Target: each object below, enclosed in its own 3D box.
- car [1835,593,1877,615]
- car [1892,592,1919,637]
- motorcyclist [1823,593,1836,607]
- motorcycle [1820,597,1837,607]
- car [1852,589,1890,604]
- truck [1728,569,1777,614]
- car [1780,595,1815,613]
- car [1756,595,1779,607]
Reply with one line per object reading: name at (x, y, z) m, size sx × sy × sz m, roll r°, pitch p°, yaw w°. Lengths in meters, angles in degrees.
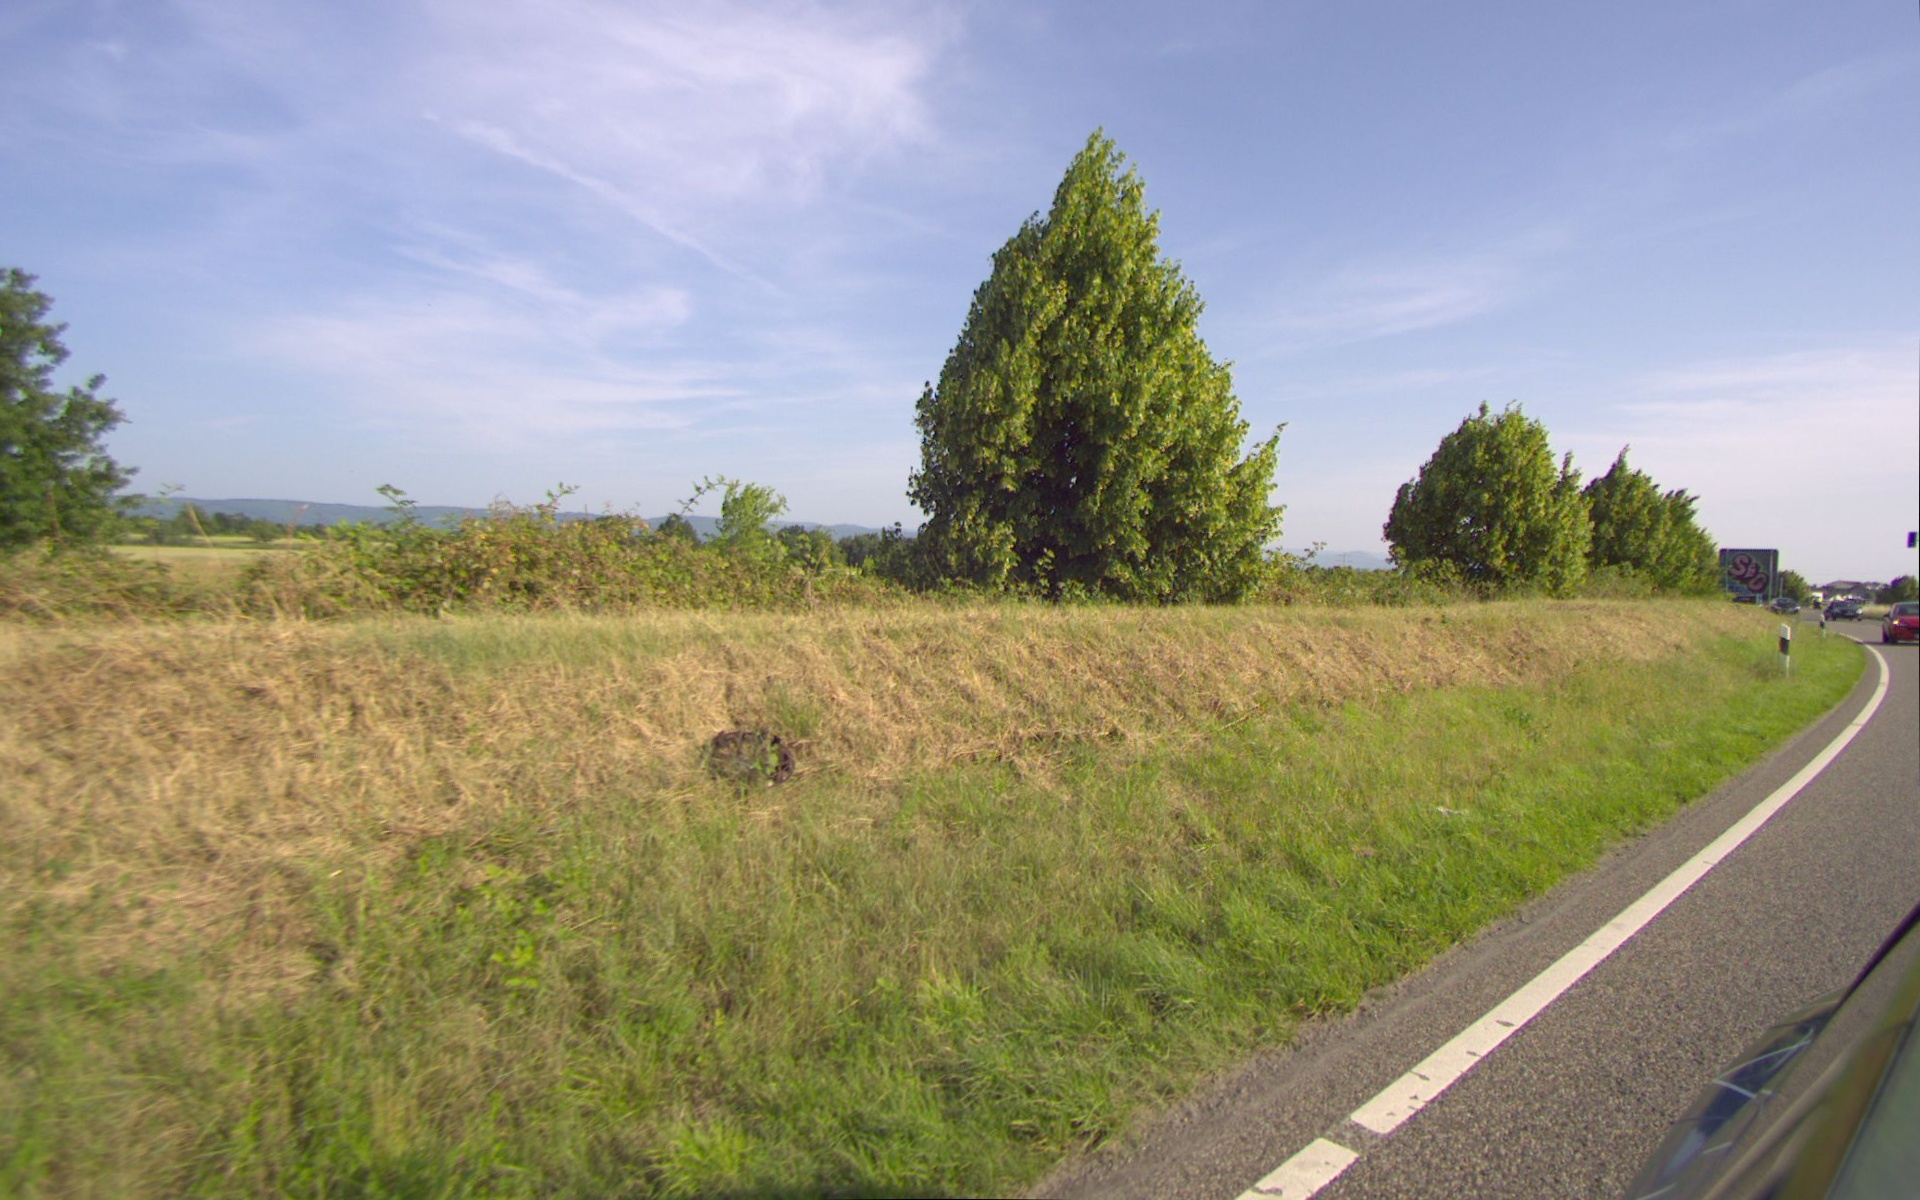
car at (66.683, 0.299, 75.339) m, size 1.740 × 1.549 × 3.952 m, roll 1°, pitch 1°, yaw 33°
car at (34.230, 0.496, 35.718) m, size 1.658 × 1.482 × 3.900 m, roll 1°, pitch 1°, yaw 39°
motorcyclist at (103.628, 0.041, 120.671) m, size 0.745 × 1.624 × 1.241 m, roll 0°, pitch 1°, yaw 20°
motorcycle at (103.570, 0.271, 120.638) m, size 0.745 × 1.107 × 2.293 m, roll 0°, pitch 1°, yaw 20°
car at (99.610, -0.374, 110.713) m, size 1.900 × 1.585 × 4.569 m, roll 1°, pitch 1°, yaw 26°
truck at (72.335, -0.796, 92.510) m, size 2.630 × 3.968 × 5.890 m, roll 0°, pitch 1°, yaw 29°
car at (76.995, 0.327, 93.099) m, size 1.817 × 1.549 × 3.958 m, roll 1°, pitch 1°, yaw 30°
car at (110.974, 0.101, 139.093) m, size 1.696 × 1.544 × 4.093 m, roll 1°, pitch 1°, yaw 29°
